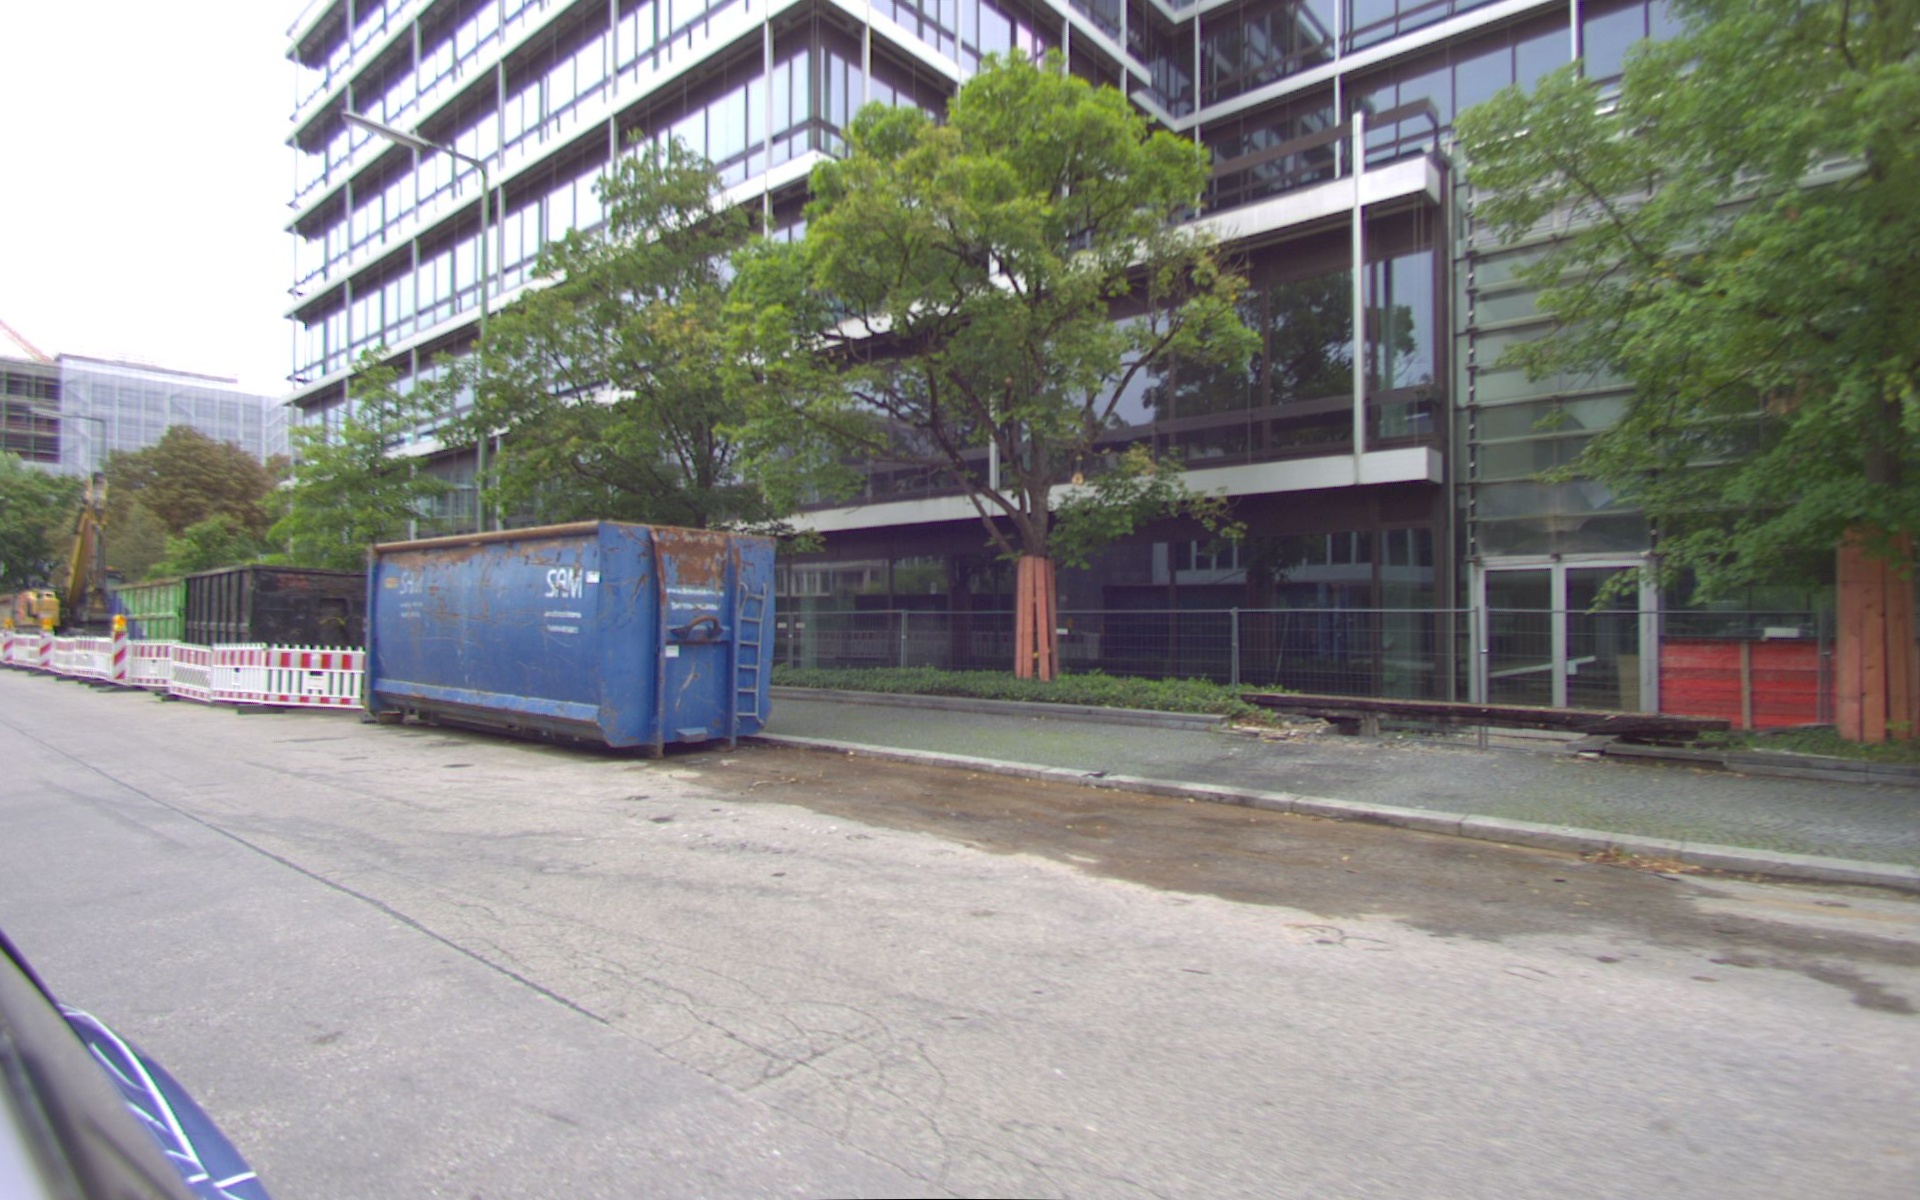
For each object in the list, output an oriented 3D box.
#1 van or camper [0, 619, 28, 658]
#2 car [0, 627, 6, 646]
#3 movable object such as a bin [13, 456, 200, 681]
[{"bbox_3d":[-52.578,2.119,55.399,5.588,2.050,1.966,-2,-4,45],"label":"van or camper"},{"bbox_3d":[-82.470,3.014,84.368,1.775,1.584,3.863,1,-1,18],"label":"car"},{"bbox_3d":[-29.464,-0.840,34.646,11.776,6.614,2.874,-1,-2,40],"label":"movable object such as a bin"}]
